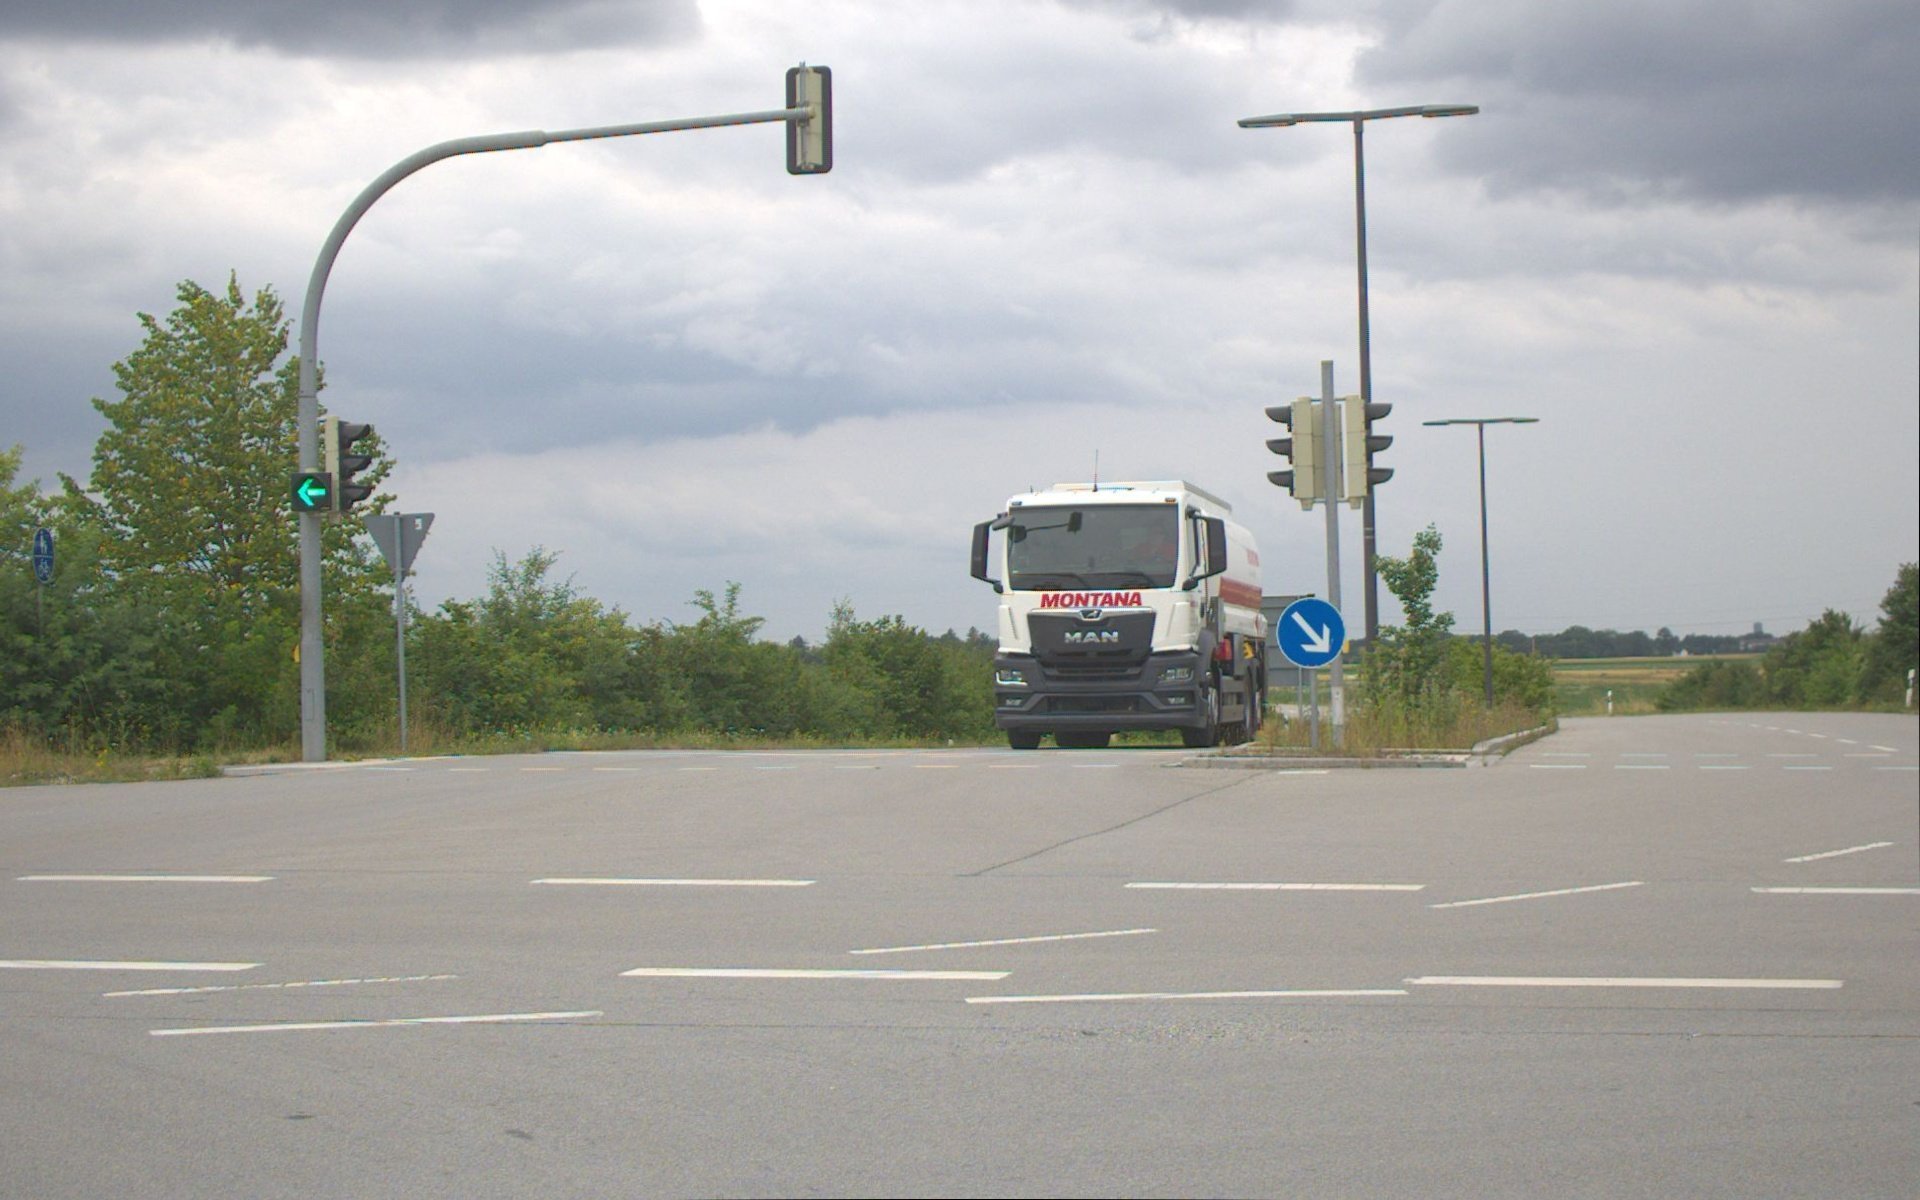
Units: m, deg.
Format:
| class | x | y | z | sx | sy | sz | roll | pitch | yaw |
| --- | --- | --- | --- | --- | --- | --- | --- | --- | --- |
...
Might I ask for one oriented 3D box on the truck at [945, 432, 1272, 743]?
| class | x | y | z | sx | sy | sz | roll | pitch | yaw |
| --- | --- | --- | --- | --- | --- | --- | --- | --- | --- |
| truck | 2.039 | -0.032 | 42.738 | 2.871 | 3.397 | 8.646 | -2 | -2 | 10 |
